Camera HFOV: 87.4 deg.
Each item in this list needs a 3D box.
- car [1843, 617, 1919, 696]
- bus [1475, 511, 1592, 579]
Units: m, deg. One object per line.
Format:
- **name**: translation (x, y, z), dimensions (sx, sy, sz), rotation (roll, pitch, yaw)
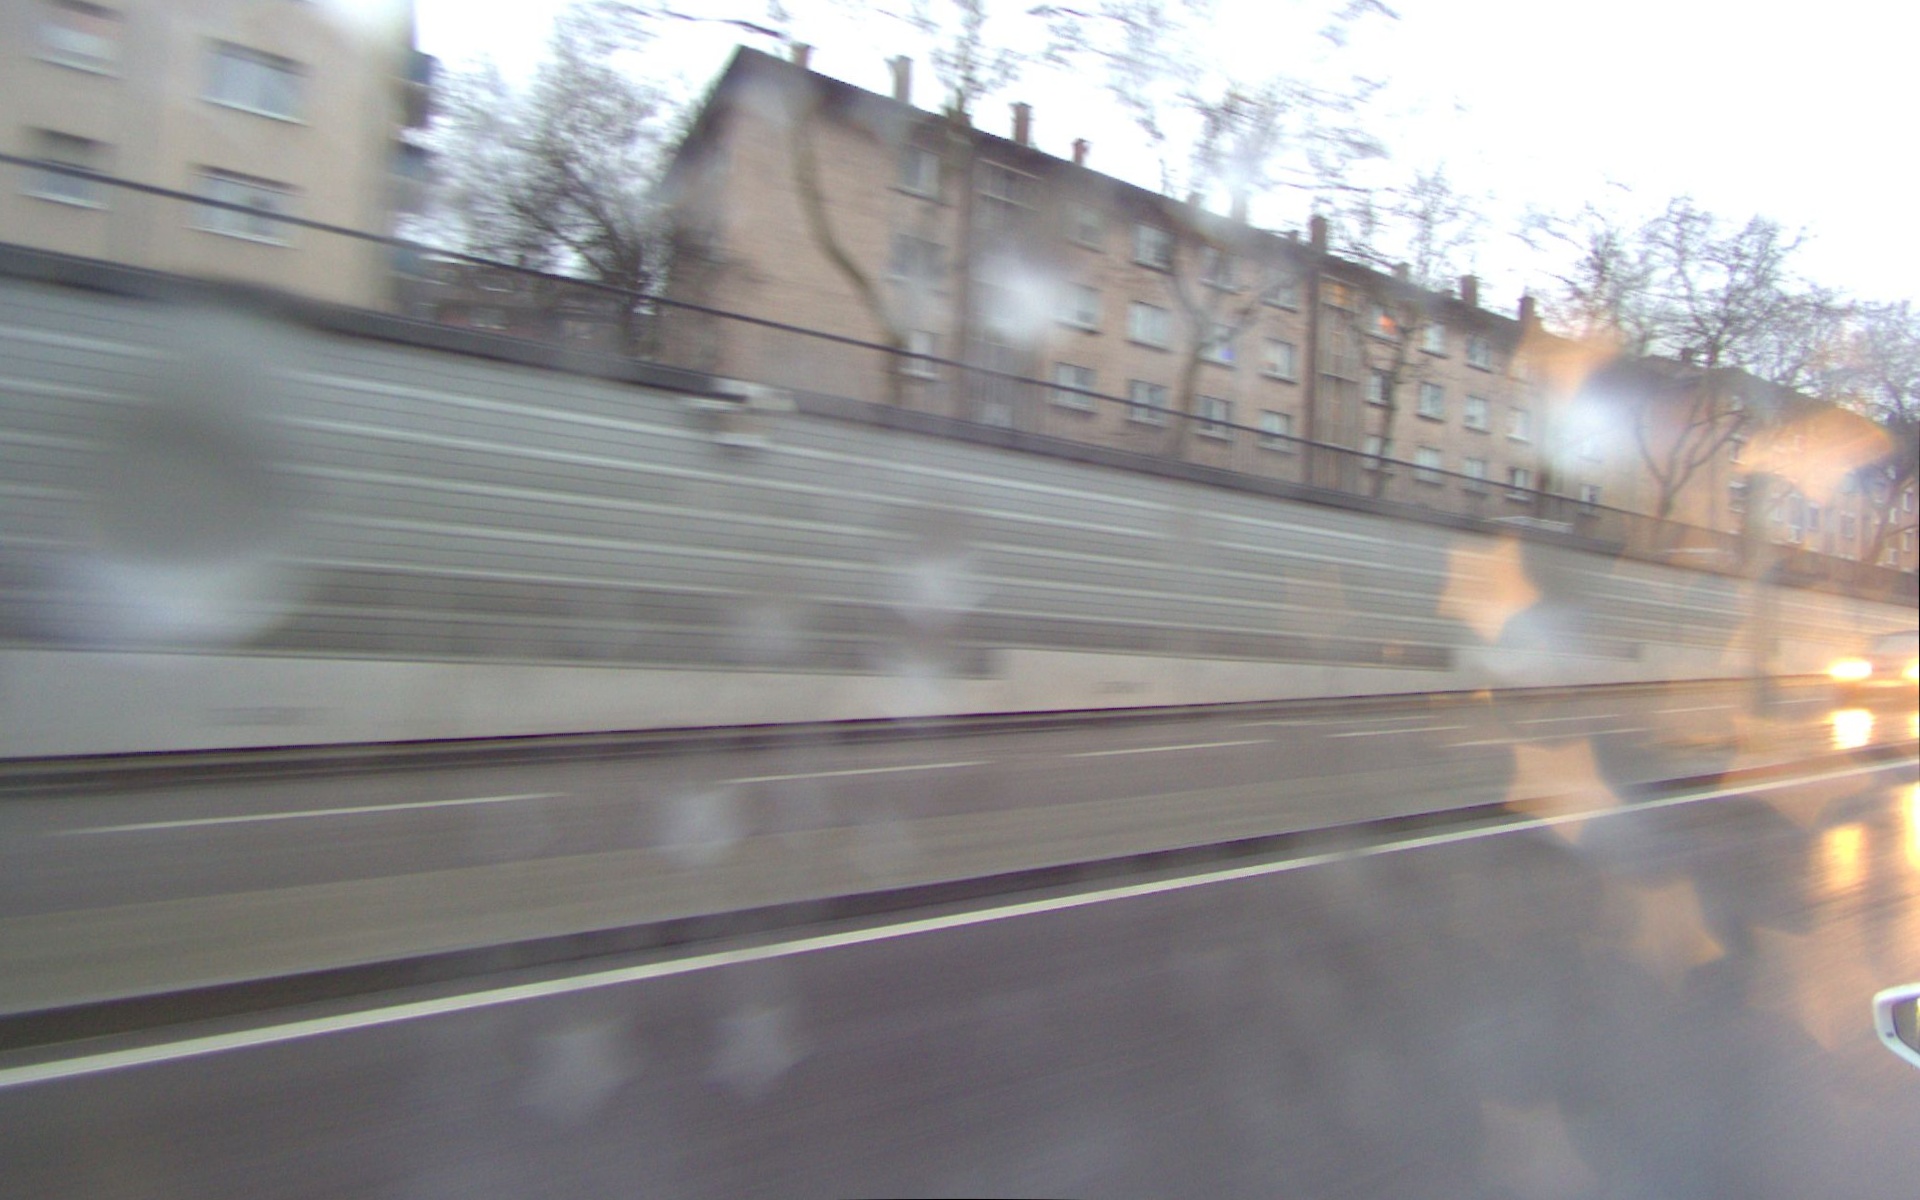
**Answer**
- **car**: translation (19.469, 1.096, 20.183), dimensions (3.644, 1.490, 1.564), rotation (1, -2, -31)
- **bus**: translation (19.898, -1.846, 34.841), dimensions (4.015, 1.894, 1.688), rotation (3, -5, -29)
